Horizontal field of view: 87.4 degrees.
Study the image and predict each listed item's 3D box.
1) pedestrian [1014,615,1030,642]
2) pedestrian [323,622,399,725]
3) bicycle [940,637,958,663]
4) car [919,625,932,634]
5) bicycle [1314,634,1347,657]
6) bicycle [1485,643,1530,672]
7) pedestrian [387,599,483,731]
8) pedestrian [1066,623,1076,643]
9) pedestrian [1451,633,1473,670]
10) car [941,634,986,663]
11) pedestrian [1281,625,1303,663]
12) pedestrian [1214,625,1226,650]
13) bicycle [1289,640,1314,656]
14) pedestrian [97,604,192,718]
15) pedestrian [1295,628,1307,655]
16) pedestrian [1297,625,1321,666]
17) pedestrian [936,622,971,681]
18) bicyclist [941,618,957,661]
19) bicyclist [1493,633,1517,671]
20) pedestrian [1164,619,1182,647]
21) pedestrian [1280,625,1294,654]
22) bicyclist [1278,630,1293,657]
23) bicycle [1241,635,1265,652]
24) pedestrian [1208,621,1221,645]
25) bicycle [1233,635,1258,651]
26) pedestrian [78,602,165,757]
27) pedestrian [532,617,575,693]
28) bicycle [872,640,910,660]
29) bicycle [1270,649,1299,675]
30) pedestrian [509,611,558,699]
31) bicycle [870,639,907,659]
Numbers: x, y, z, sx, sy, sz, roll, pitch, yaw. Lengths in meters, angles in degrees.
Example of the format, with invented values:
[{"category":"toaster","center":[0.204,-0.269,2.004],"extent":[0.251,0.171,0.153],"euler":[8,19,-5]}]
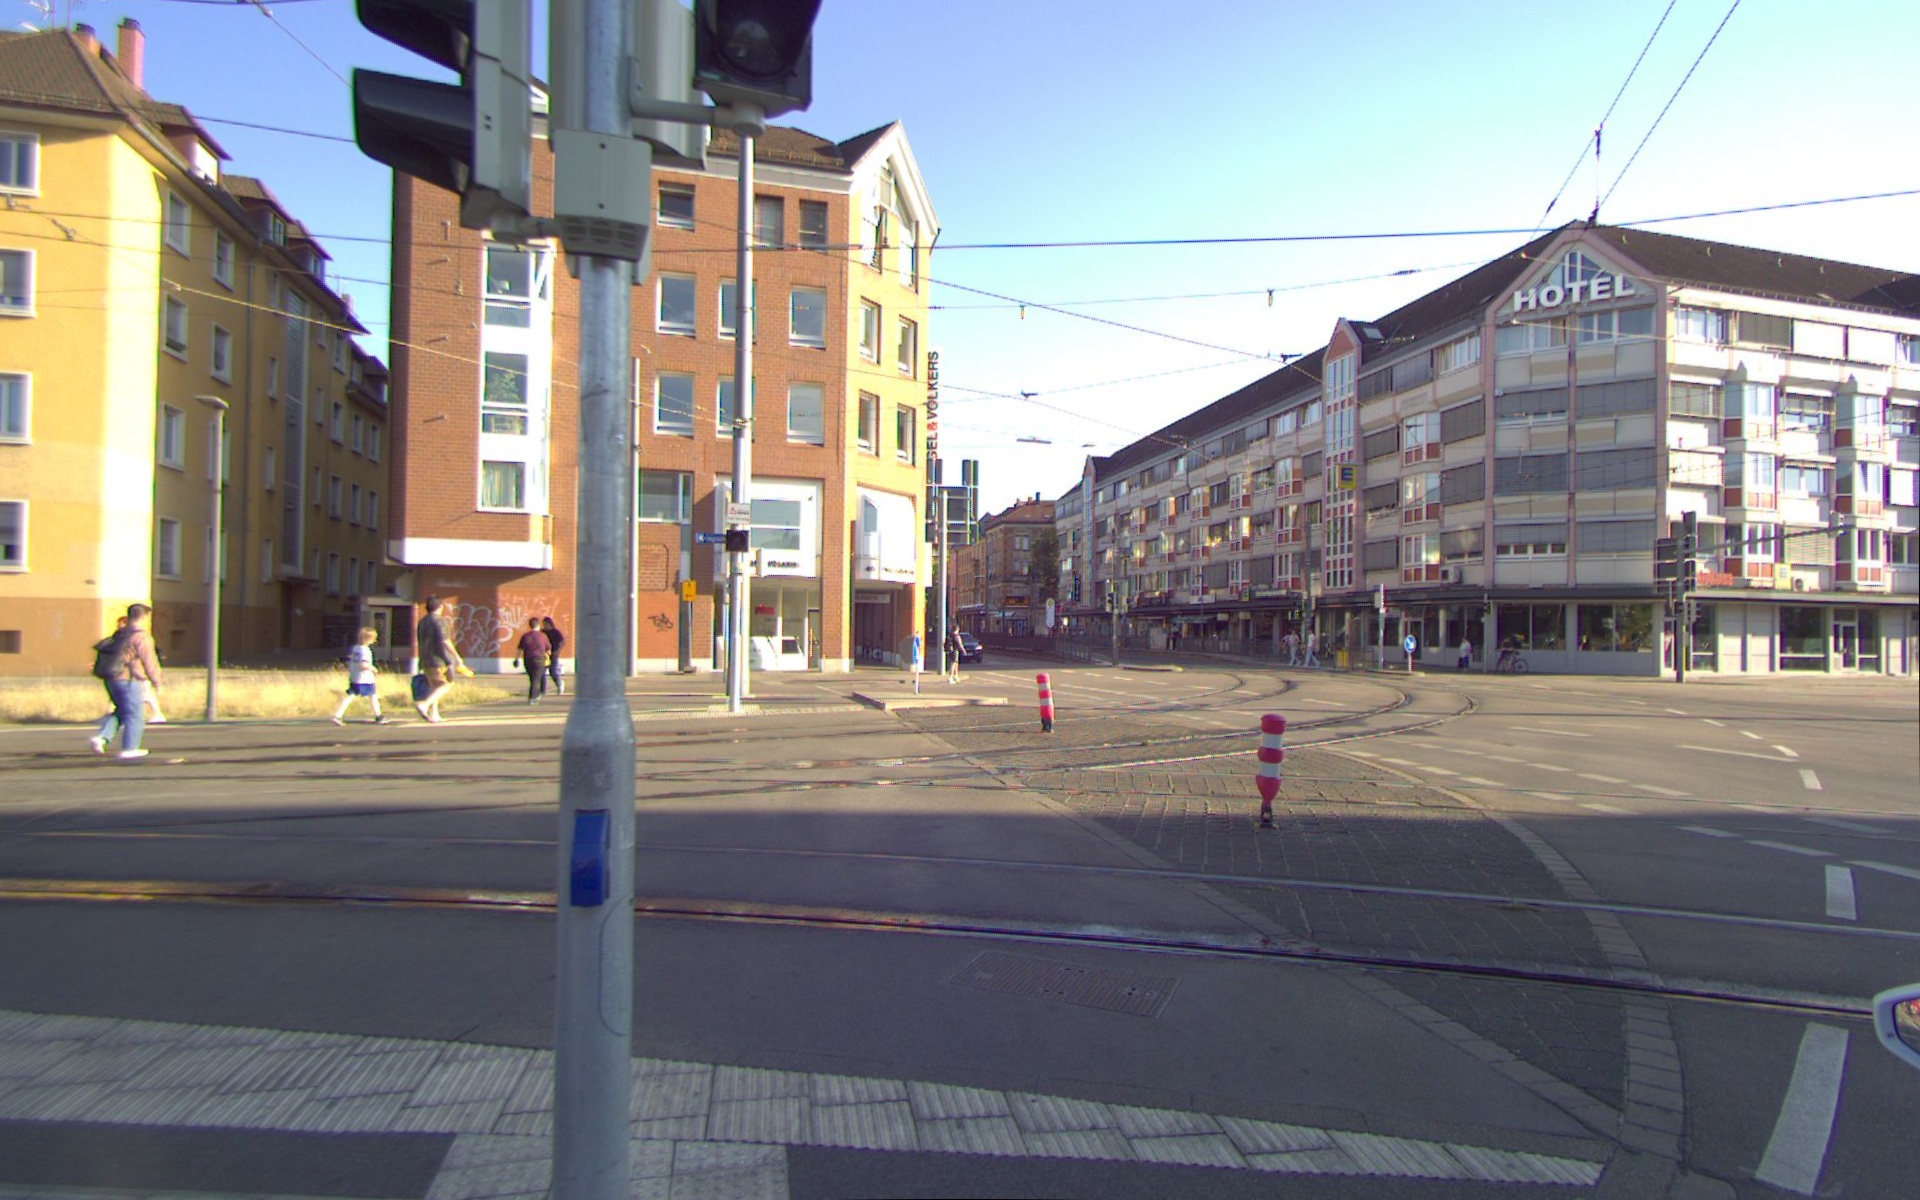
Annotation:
[{"category":"pedestrian","center":[3.669,1.667,59.214],"extent":[0.684,1.599,0.615],"euler":[1,0,-36]},{"category":"pedestrian","center":[-8.253,1.006,13.856],"extent":[0.584,1.378,0.609],"euler":[0,-4,7]},{"category":"bicycle","center":[-0.496,2.257,45.406],"extent":[0.623,1.062,1.835],"euler":[1,0,-5]},{"category":"car","center":[-6.547,5.581,192.661],"extent":[1.964,1.573,3.993],"euler":[1,0,-9]},{"category":"bicycle","center":[21.660,2.650,58.750],"extent":[0.717,1.243,2.328],"euler":[1,-1,-10]},{"category":"bicycle","center":[24.009,2.503,44.033],"extent":[1.739,1.160,0.639],"euler":[-1,1,-13]},{"category":"pedestrian","center":[-7.435,0.889,14.253],"extent":[0.760,1.781,0.900],"euler":[1,0,14]},{"category":"pedestrian","center":[11.631,3.415,105.081],"extent":[0.826,2.040,0.776],"euler":[1,0,-7]},{"category":"pedestrian","center":[22.788,2.325,45.577],"extent":[0.628,1.684,0.708],"euler":[2,-2,-39]},{"category":"car","center":[0.149,2.481,51.659],"extent":[1.719,1.261,3.931],"euler":[1,0,-9]},{"category":"pedestrian","center":[15.446,2.027,46.721],"extent":[0.615,1.717,0.863],"euler":[2,0,42]},{"category":"pedestrian","center":[19.201,2.774,74.154],"extent":[0.804,1.802,0.680],"euler":[1,0,14]},{"category":"bicycle","center":[20.956,2.947,61.691],"extent":[0.492,0.929,2.075],"euler":[1,-1,-10]},{"category":"pedestrian","center":[-11.894,0.870,14.663],"extent":[0.824,1.605,0.684],"euler":[1,0,11]},{"category":"pedestrian","center":[21.482,2.626,63.243],"extent":[0.600,1.657,0.602],"euler":[1,0,30]},{"category":"pedestrian","center":[15.679,2.041,45.119],"extent":[0.996,1.788,0.505],"euler":[1,0,-36]},{"category":"pedestrian","center":[-0.195,1.585,31.089],"extent":[0.819,1.781,0.690],"euler":[1,0,-30]},{"category":"bicyclist","center":[-0.485,1.775,45.442],"extent":[0.623,1.904,0.810],"euler":[1,0,-6]},{"category":"bicyclist","center":[23.853,2.276,43.990],"extent":[0.647,1.618,0.639],"euler":[-1,1,-12]},{"category":"pedestrian","center":[13.141,2.057,62.012],"extent":[0.770,1.682,0.680],"euler":[1,0,-22]},{"category":"pedestrian","center":[21.434,2.593,65.846],"extent":[0.599,1.877,0.603],"euler":[1,0,-6]},{"category":"bicyclist","center":[18.914,2.522,58.365],"extent":[0.557,1.501,0.736],"euler":[-1,0,-14]},{"category":"bicycle","center":[20.323,3.047,69.653],"extent":[1.622,1.134,0.482],"euler":[1,0,-16]},{"category":"pedestrian","center":[18.197,2.341,71.873],"extent":[0.739,1.667,0.549],"euler":[1,0,-6]},{"category":"bicycle","center":[20.203,3.047,71.077],"extent":[1.622,1.134,0.564],"euler":[1,0,-16]},{"category":"pedestrian","center":[-8.866,0.808,10.645],"extent":[0.613,1.556,0.780],"euler":[1,0,-35]},{"category":"pedestrian","center":[-8.919,1.192,22.039],"extent":[0.829,1.605,0.680],"euler":[1,0,-22]},{"category":"bicycle","center":[-3.413,2.496,49.962],"extent":[1.805,0.974,0.542],"euler":[1,1,-14]},{"category":"bicycle","center":[18.887,3.600,58.448],"extent":[0.574,1.385,2.089],"euler":[-1,0,-15]},{"category":"pedestrian","center":[-7.948,1.016,18.733],"extent":[0.776,1.609,0.605],"euler":[1,0,-20]},{"category":"bicycle","center":[-3.610,2.490,50.765],"extent":[1.805,0.974,0.542],"euler":[1,0,-14]}]
